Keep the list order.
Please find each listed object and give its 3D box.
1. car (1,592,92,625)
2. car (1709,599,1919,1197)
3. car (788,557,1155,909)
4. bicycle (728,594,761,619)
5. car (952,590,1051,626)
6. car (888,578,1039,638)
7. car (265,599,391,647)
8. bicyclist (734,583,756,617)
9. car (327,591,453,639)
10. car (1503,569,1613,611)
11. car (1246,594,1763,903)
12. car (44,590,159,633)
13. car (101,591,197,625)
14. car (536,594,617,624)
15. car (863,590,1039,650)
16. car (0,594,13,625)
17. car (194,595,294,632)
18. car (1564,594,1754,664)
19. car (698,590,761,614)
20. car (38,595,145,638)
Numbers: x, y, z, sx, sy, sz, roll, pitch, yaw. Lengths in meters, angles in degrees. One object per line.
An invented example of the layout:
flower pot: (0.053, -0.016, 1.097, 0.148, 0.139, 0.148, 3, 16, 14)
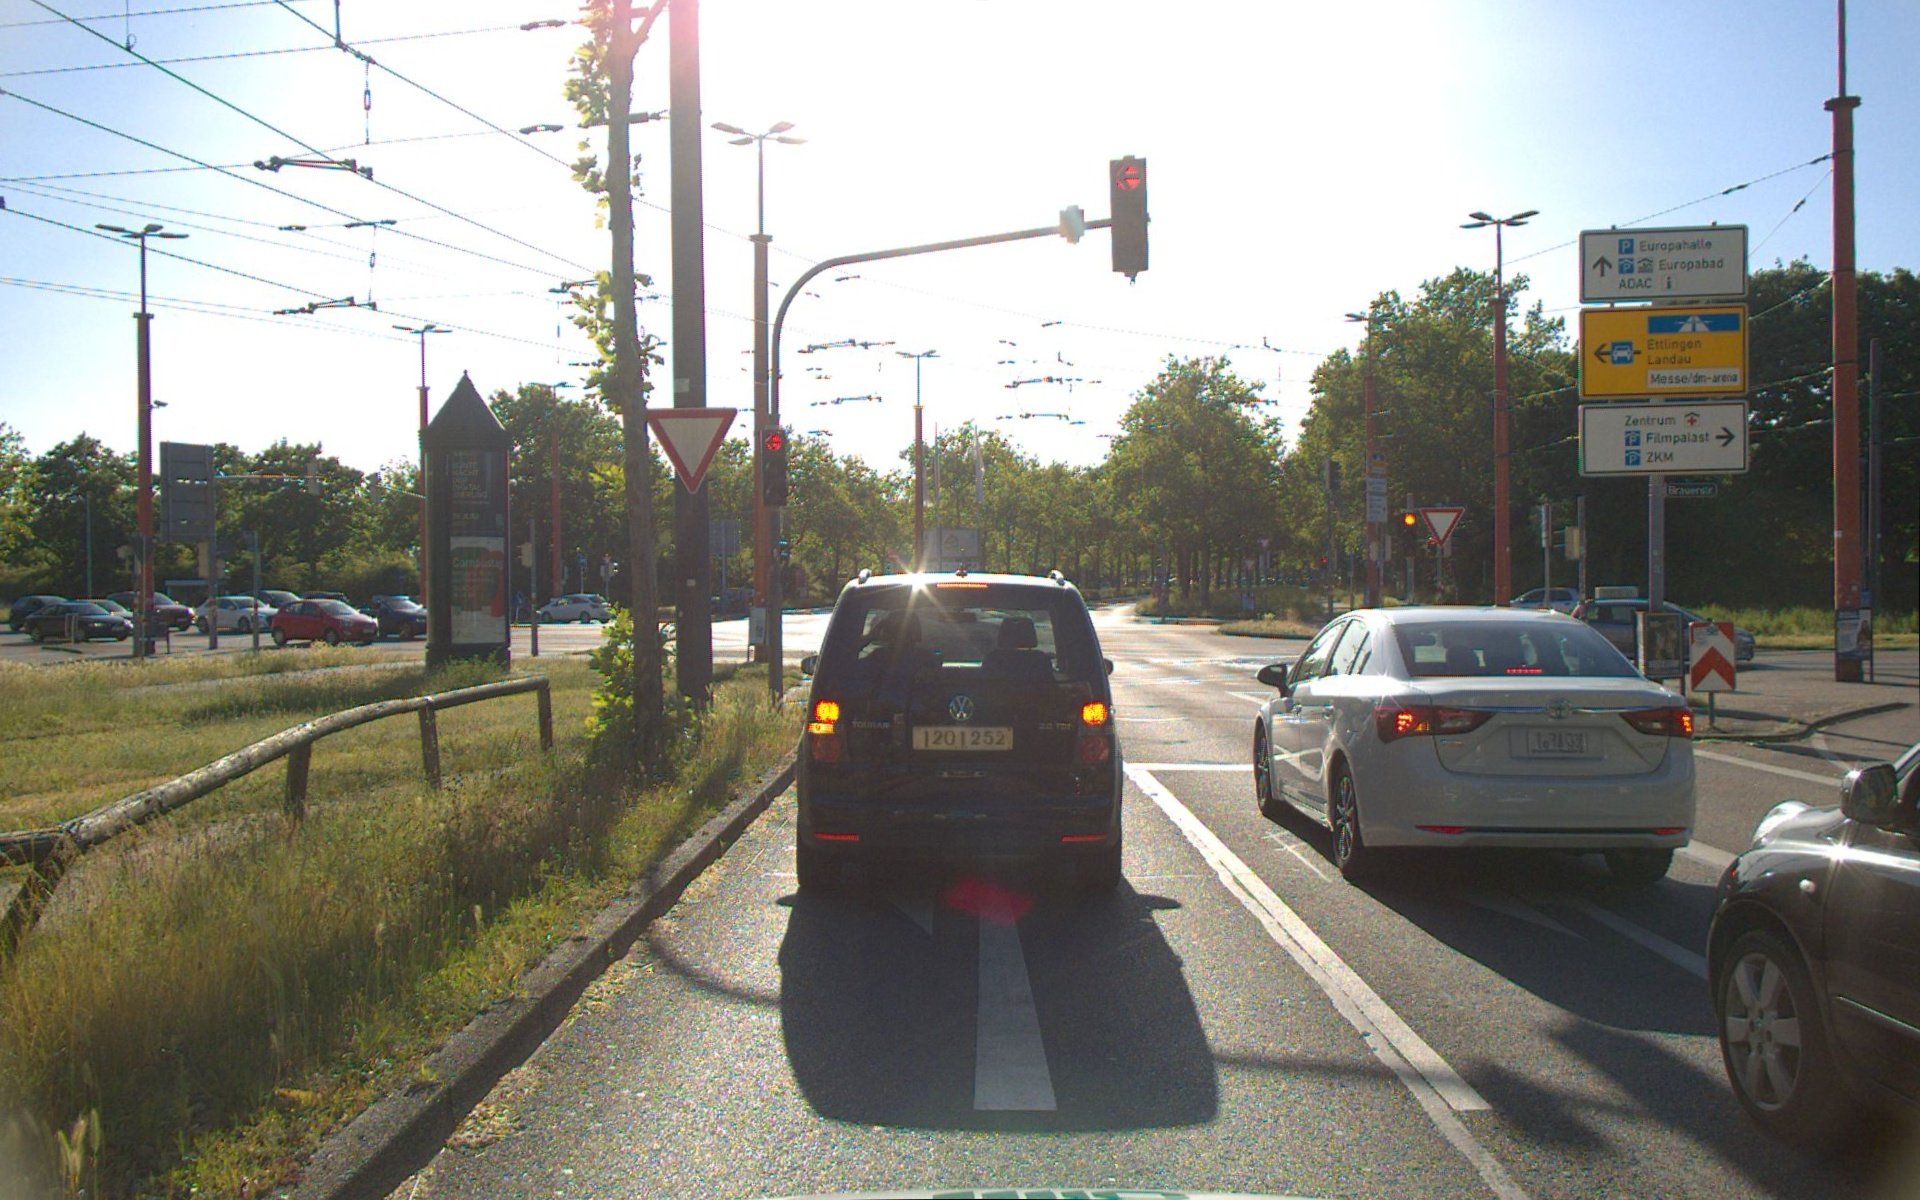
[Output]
car: (-40.876, 0.367, 73.986, 4.060, 1.440, 1.542, 0, 0, 26)
car: (3.136, 0.741, 3.483, 1.544, 1.465, 3.441, 1, 0, 0)
car: (0.067, 0.635, 9.957, 1.703, 1.630, 4.326, 1, 0, 0)
bicycle: (-12.258, 0.380, 94.159, 0.955, 1.413, 2.982, 0, 0, 12)
car: (1.838, 0.335, 72.864, 4.050, 1.537, 1.657, 0, 0, 21)
car: (0.089, 0.211, 48.822, 4.248, 1.721, 1.653, 0, 0, 32)
car: (-21.312, 0.763, 55.773, 4.104, 1.546, 1.655, 0, 0, 27)
bicyclist: (-12.251, -0.015, 94.200, 0.955, 1.937, 1.051, 0, 0, 12)
car: (-20.595, 0.511, 59.747, 4.541, 1.676, 1.753, 0, 0, 30)
car: (22.609, -0.381, 62.522, 3.718, 1.537, 1.654, 0, 0, 28)
car: (3.015, 0.728, 10.179, 1.762, 1.465, 4.326, 1, 0, 0)
car: (-35.082, 0.451, 67.598, 4.535, 1.676, 1.755, 0, 0, 24)
car: (-34.636, 0.326, 70.625, 4.060, 1.440, 1.542, 0, 0, 26)
car: (-19.541, 0.429, 84.271, 3.837, 1.483, 1.655, 0, 0, 26)
car: (-0.262, 0.505, 44.812, 4.532, 1.546, 1.655, 0, 0, 27)
car: (-45.875, 0.433, 76.571, 4.060, 1.440, 1.542, 0, 0, 26)
car: (-29.409, 0.531, 67.919, 4.060, 1.440, 1.542, 0, 0, 26)
car: (15.372, 0.604, 36.401, 3.755, 1.466, 1.655, 0, 0, 27)
car: (-14.403, 0.117, 103.360, 1.624, 1.483, 3.911, 0, 0, 37)
car: (-32.913, 0.596, 62.685, 4.107, 1.546, 1.654, 0, 0, 30)
